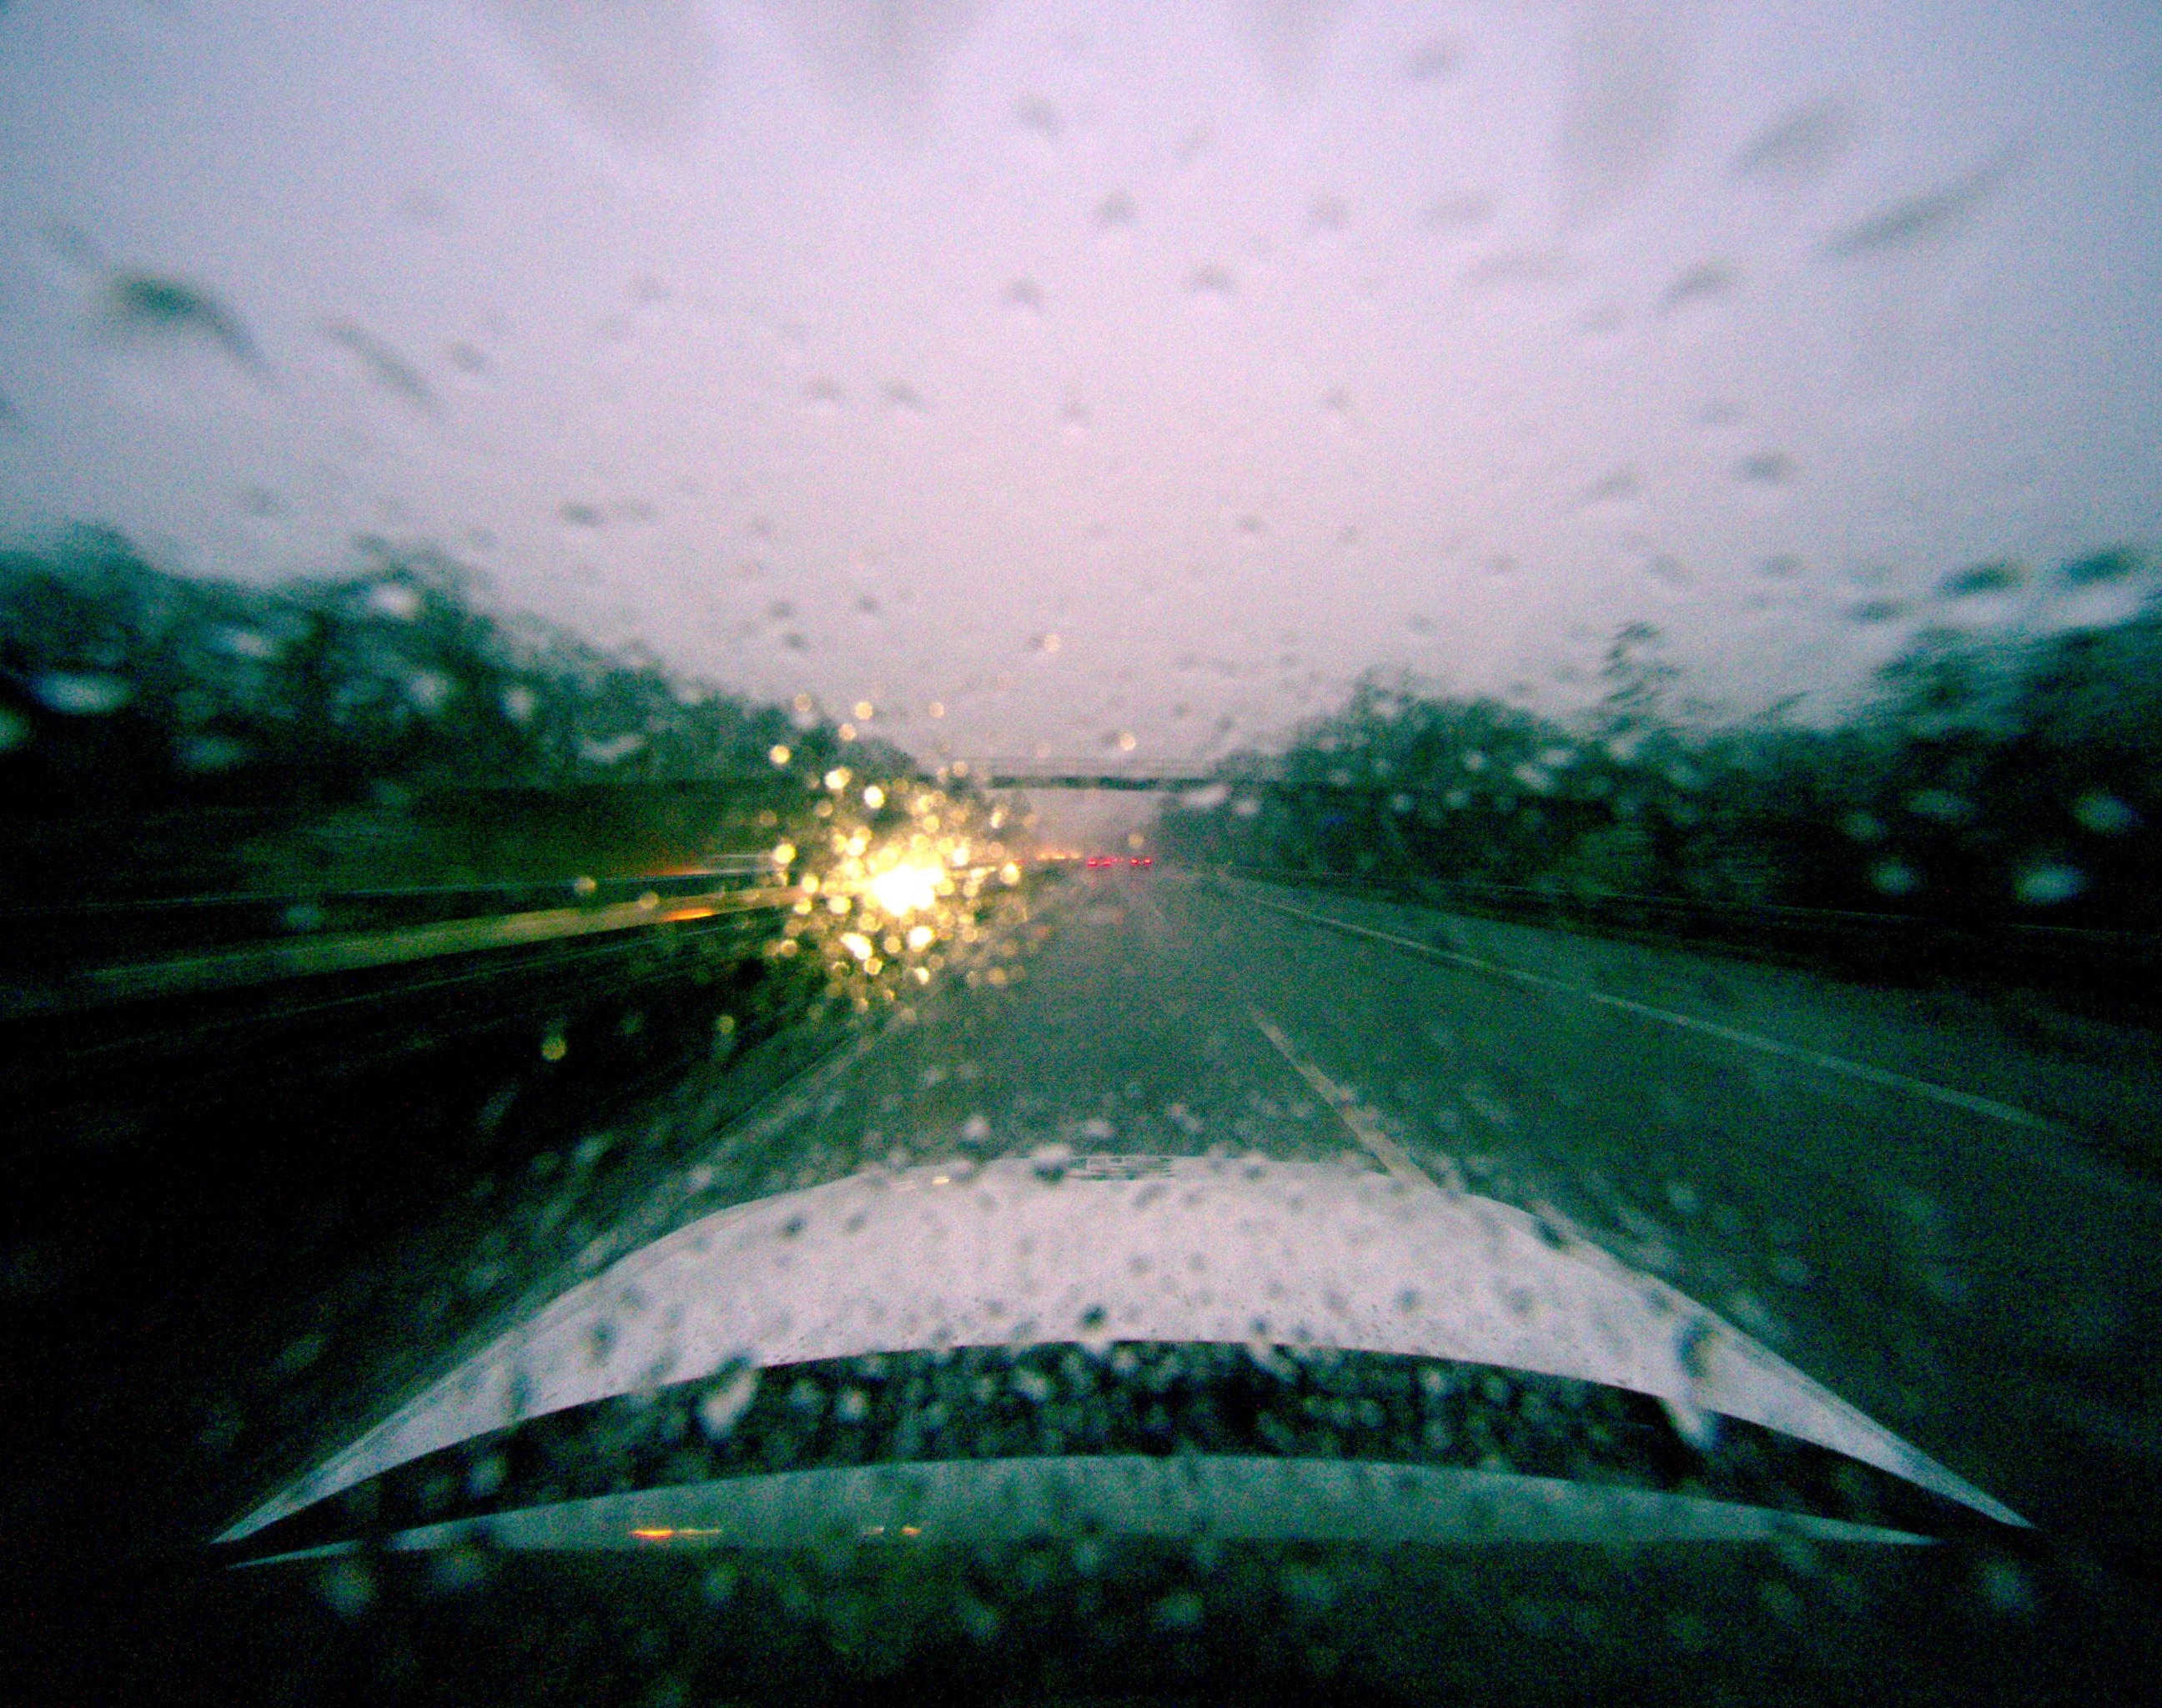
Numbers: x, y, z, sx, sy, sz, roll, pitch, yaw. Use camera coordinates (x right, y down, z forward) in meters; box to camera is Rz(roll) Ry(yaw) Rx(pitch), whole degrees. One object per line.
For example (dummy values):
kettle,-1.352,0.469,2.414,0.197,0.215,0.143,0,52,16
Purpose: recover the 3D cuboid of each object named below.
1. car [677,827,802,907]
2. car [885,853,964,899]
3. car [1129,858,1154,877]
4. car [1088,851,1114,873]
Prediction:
car,-11.124,0.406,26.954,1.986,2.412,4.681,0,-1,2
car,-6.420,0.851,34.104,1.985,1.716,5.370,1,0,3
car,5.860,1.295,79.232,2.063,1.698,4.460,0,-1,0
car,1.595,0.663,67.835,1.981,1.767,4.171,0,-1,-1
